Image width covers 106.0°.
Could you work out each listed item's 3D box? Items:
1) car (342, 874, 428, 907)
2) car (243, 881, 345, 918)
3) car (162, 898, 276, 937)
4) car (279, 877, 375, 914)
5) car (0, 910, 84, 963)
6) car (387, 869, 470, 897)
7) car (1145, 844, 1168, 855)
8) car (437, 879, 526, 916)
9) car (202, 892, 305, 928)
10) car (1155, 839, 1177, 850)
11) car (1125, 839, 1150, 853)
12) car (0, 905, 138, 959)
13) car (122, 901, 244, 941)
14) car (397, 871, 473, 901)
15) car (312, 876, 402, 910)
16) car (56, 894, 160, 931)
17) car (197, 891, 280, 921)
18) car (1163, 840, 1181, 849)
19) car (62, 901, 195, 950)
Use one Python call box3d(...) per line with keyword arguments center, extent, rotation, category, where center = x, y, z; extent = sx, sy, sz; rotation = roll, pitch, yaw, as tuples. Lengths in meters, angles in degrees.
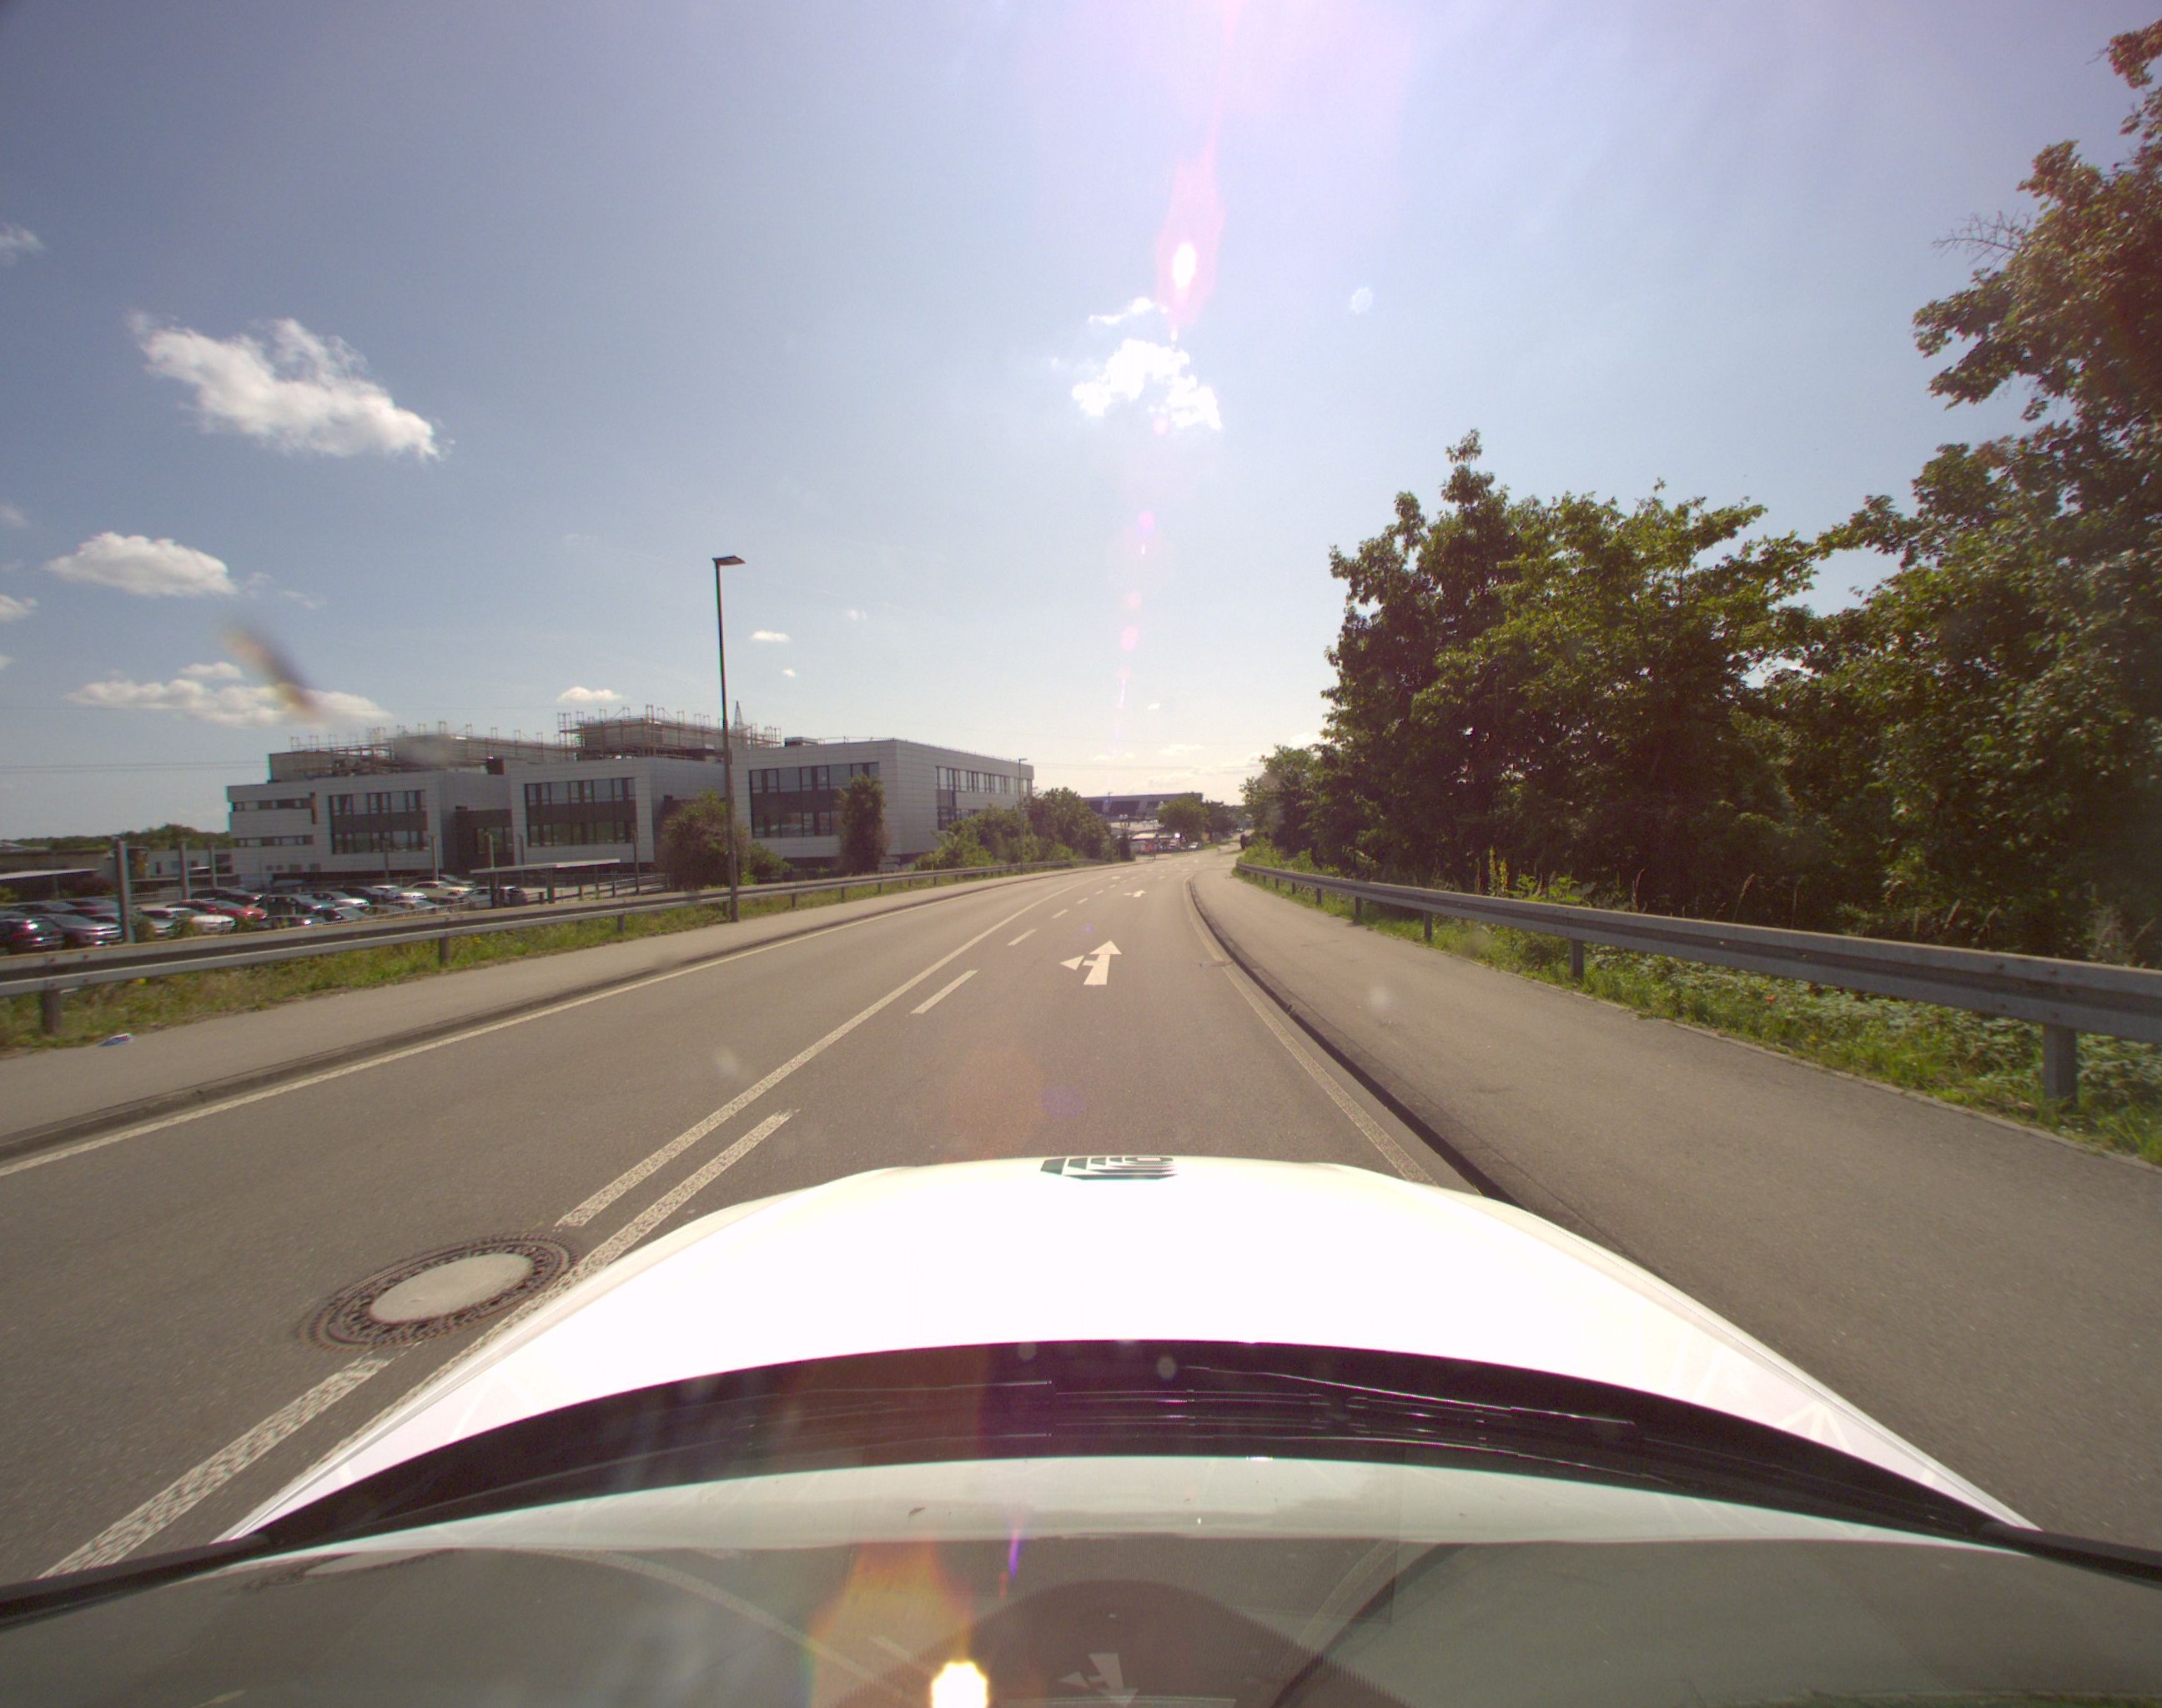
box3d(center=(-48.896, 2.549, 57.295), extent=(3.985, 2.013, 1.995), rotation=(-2, 3, -9), category="car")
box3d(center=(-48.246, 2.781, 50.015), extent=(3.985, 1.903, 1.995), rotation=(-2, 3, -9), category="car")
box3d(center=(-47.506, 3.480, 44.971), extent=(3.976, 1.708, 1.999), rotation=(-3, 0, -2), category="car")
box3d(center=(-48.560, 2.652, 52.521), extent=(3.985, 2.013, 1.995), rotation=(-2, 3, -9), category="car")
box3d(center=(-46.532, 3.638, 35.285), extent=(3.976, 2.013, 1.999), rotation=(-3, 0, -2), category="car")
box3d(center=(-55.109, 2.394, 68.855), extent=(5.067, 2.013, 1.995), rotation=(-2, 3, -9), category="car")
box3d(center=(14.310, -0.873, 153.963), extent=(3.950, 1.780, 2.013), rotation=(1, 4, 42), category="car")
box3d(center=(-37.683, 2.722, 51.300), extent=(3.983, 2.013, 1.956), rotation=(-1, 3, -8), category="car")
box3d(center=(-47.998, 3.227, 47.305), extent=(3.968, 1.814, 2.004), rotation=(-1, 3, 5), category="car")
box3d(center=(16.443, -1.863, 157.593), extent=(3.949, 1.903, 2.013), rotation=(1, 4, 41), category="car")
box3d(center=(10.523, -1.486, 152.108), extent=(4.310, 2.608, 2.012), rotation=(-1, 1, 43), category="car")
box3d(center=(-46.899, 3.561, 37.638), extent=(3.976, 2.013, 1.999), rotation=(-3, 2, -2), category="car")
box3d(center=(-46.940, 3.464, 42.621), extent=(3.976, 1.684, 1.999), rotation=(-3, 0, -2), category="car")
box3d(center=(-49.470, 2.409, 62.414), extent=(3.985, 2.013, 1.995), rotation=(-2, 3, -9), category="car")
box3d(center=(-48.725, 2.601, 54.869), extent=(3.985, 2.013, 1.995), rotation=(-2, 3, -9), category="car")
box3d(center=(-63.900, 3.801, 53.526), extent=(3.984, 2.013, 1.995), rotation=(-3, 0, -8), category="car")
box3d(center=(-64.931, 3.987, 62.837), extent=(3.984, 2.013, 1.995), rotation=(-1, 0, -8), category="car")
box3d(center=(21.072, -2.180, 188.991), extent=(3.969, 1.850, 1.837), rotation=(-2, 1, 3), category="car")
box3d(center=(-46.749, 3.499, 40.064), extent=(3.976, 2.013, 1.999), rotation=(-3, 0, -2), category="car")
